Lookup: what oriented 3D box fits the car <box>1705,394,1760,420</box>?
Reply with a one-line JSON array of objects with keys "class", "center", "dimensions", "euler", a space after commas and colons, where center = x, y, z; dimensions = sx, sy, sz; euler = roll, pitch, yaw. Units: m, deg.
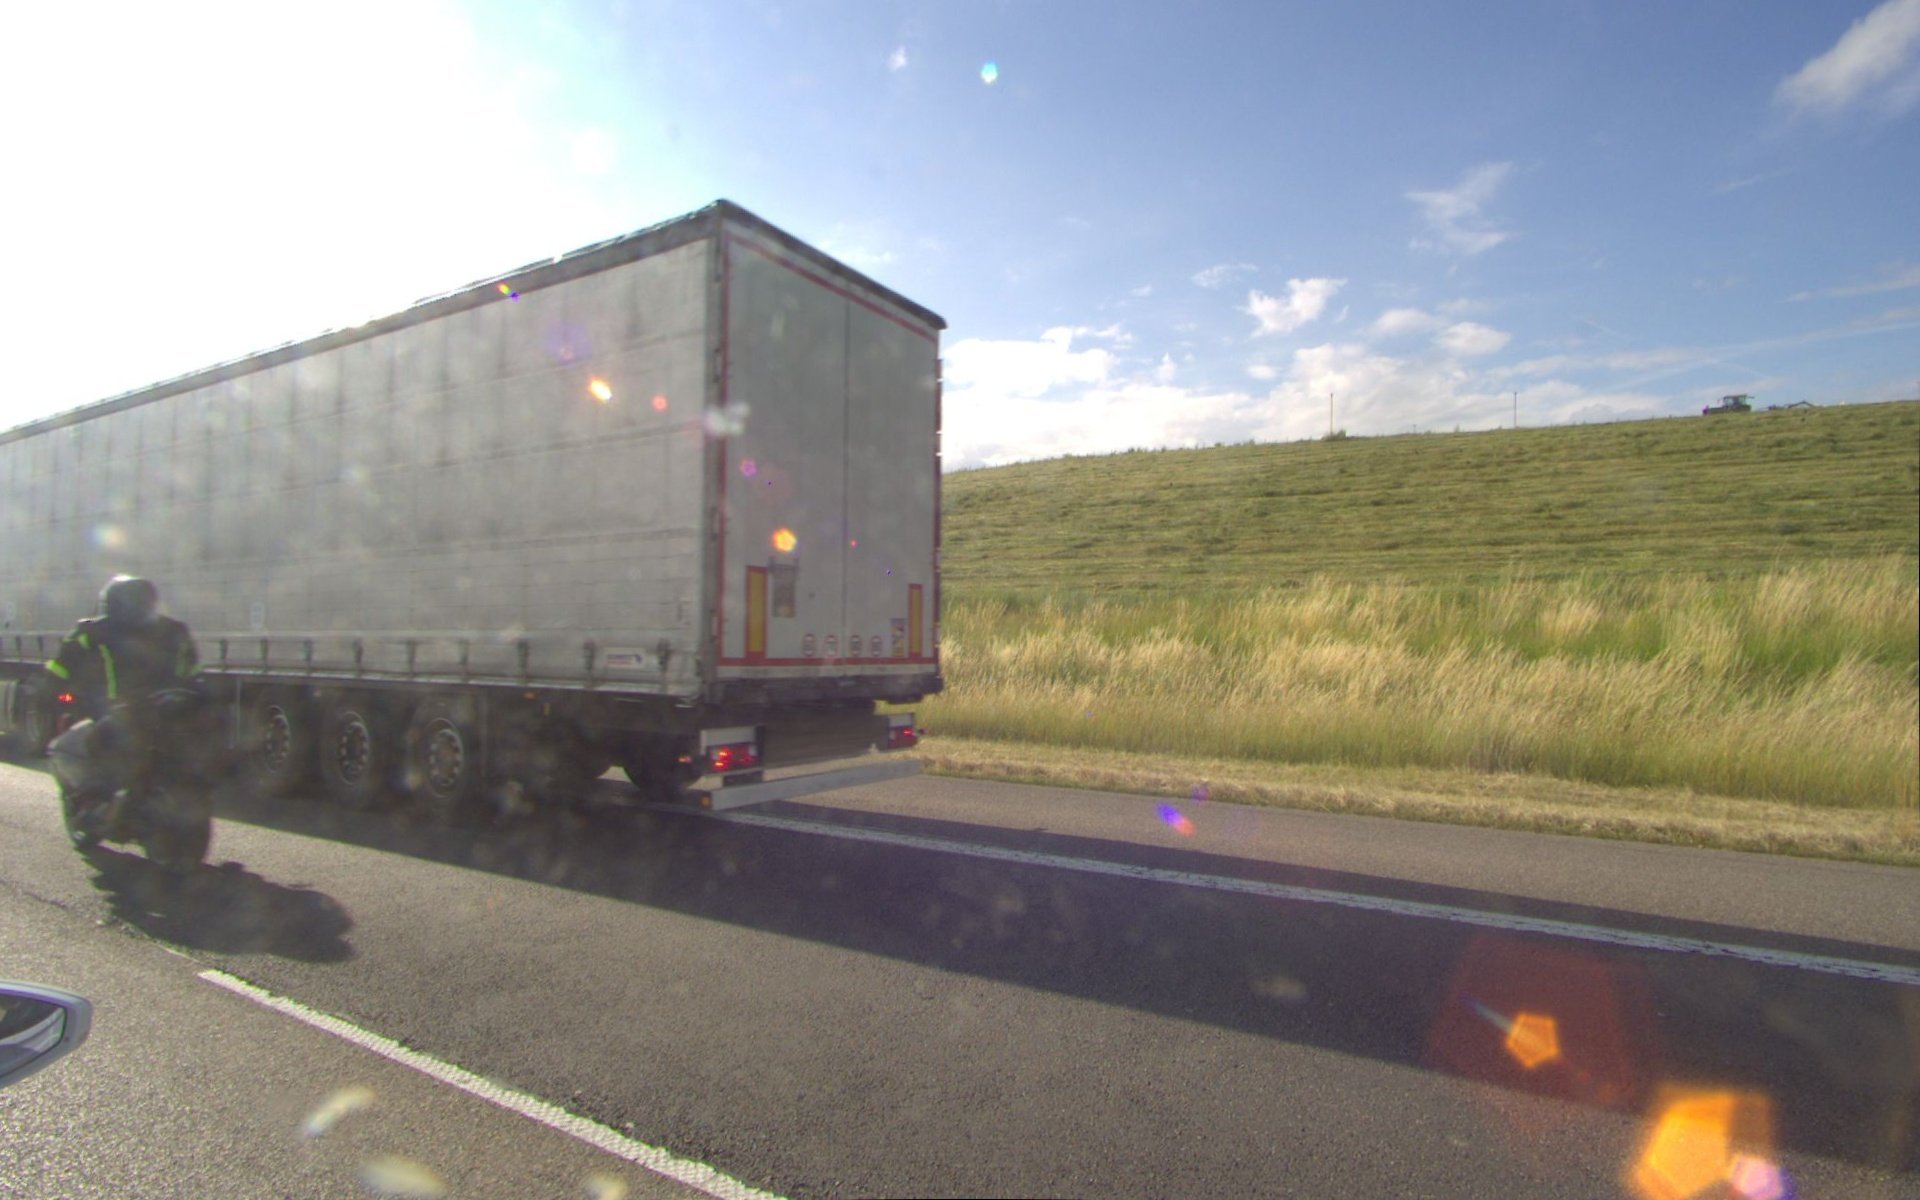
[{"class": "car", "center": [71.936, -17.991, 93.279], "dimensions": [3.948, 1.566, 1.699], "euler": [-2, -1, 36]}]

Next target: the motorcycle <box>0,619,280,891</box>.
[{"class": "motorcycle", "center": [-5.388, 0.872, 6.409], "dimensions": [2.237, 1.474, 0.894], "euler": [-1, -1, 32]}]

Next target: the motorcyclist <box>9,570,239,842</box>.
[{"class": "motorcyclist", "center": [-5.259, 0.621, 6.317], "dimensions": [0.851, 1.549, 0.894], "euler": [-1, -1, 32]}]

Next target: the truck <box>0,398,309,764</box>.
[{"class": "truck", "center": [-11.960, -0.146, 13.889], "dimensions": [6.031, 4.093, 2.597], "euler": [-1, -1, 32]}]

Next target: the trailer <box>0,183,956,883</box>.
[{"class": "trailer", "center": [-6.446, -0.270, 10.526], "dimensions": [13.500, 4.093, 2.612], "euler": [-1, -1, 32]}]
